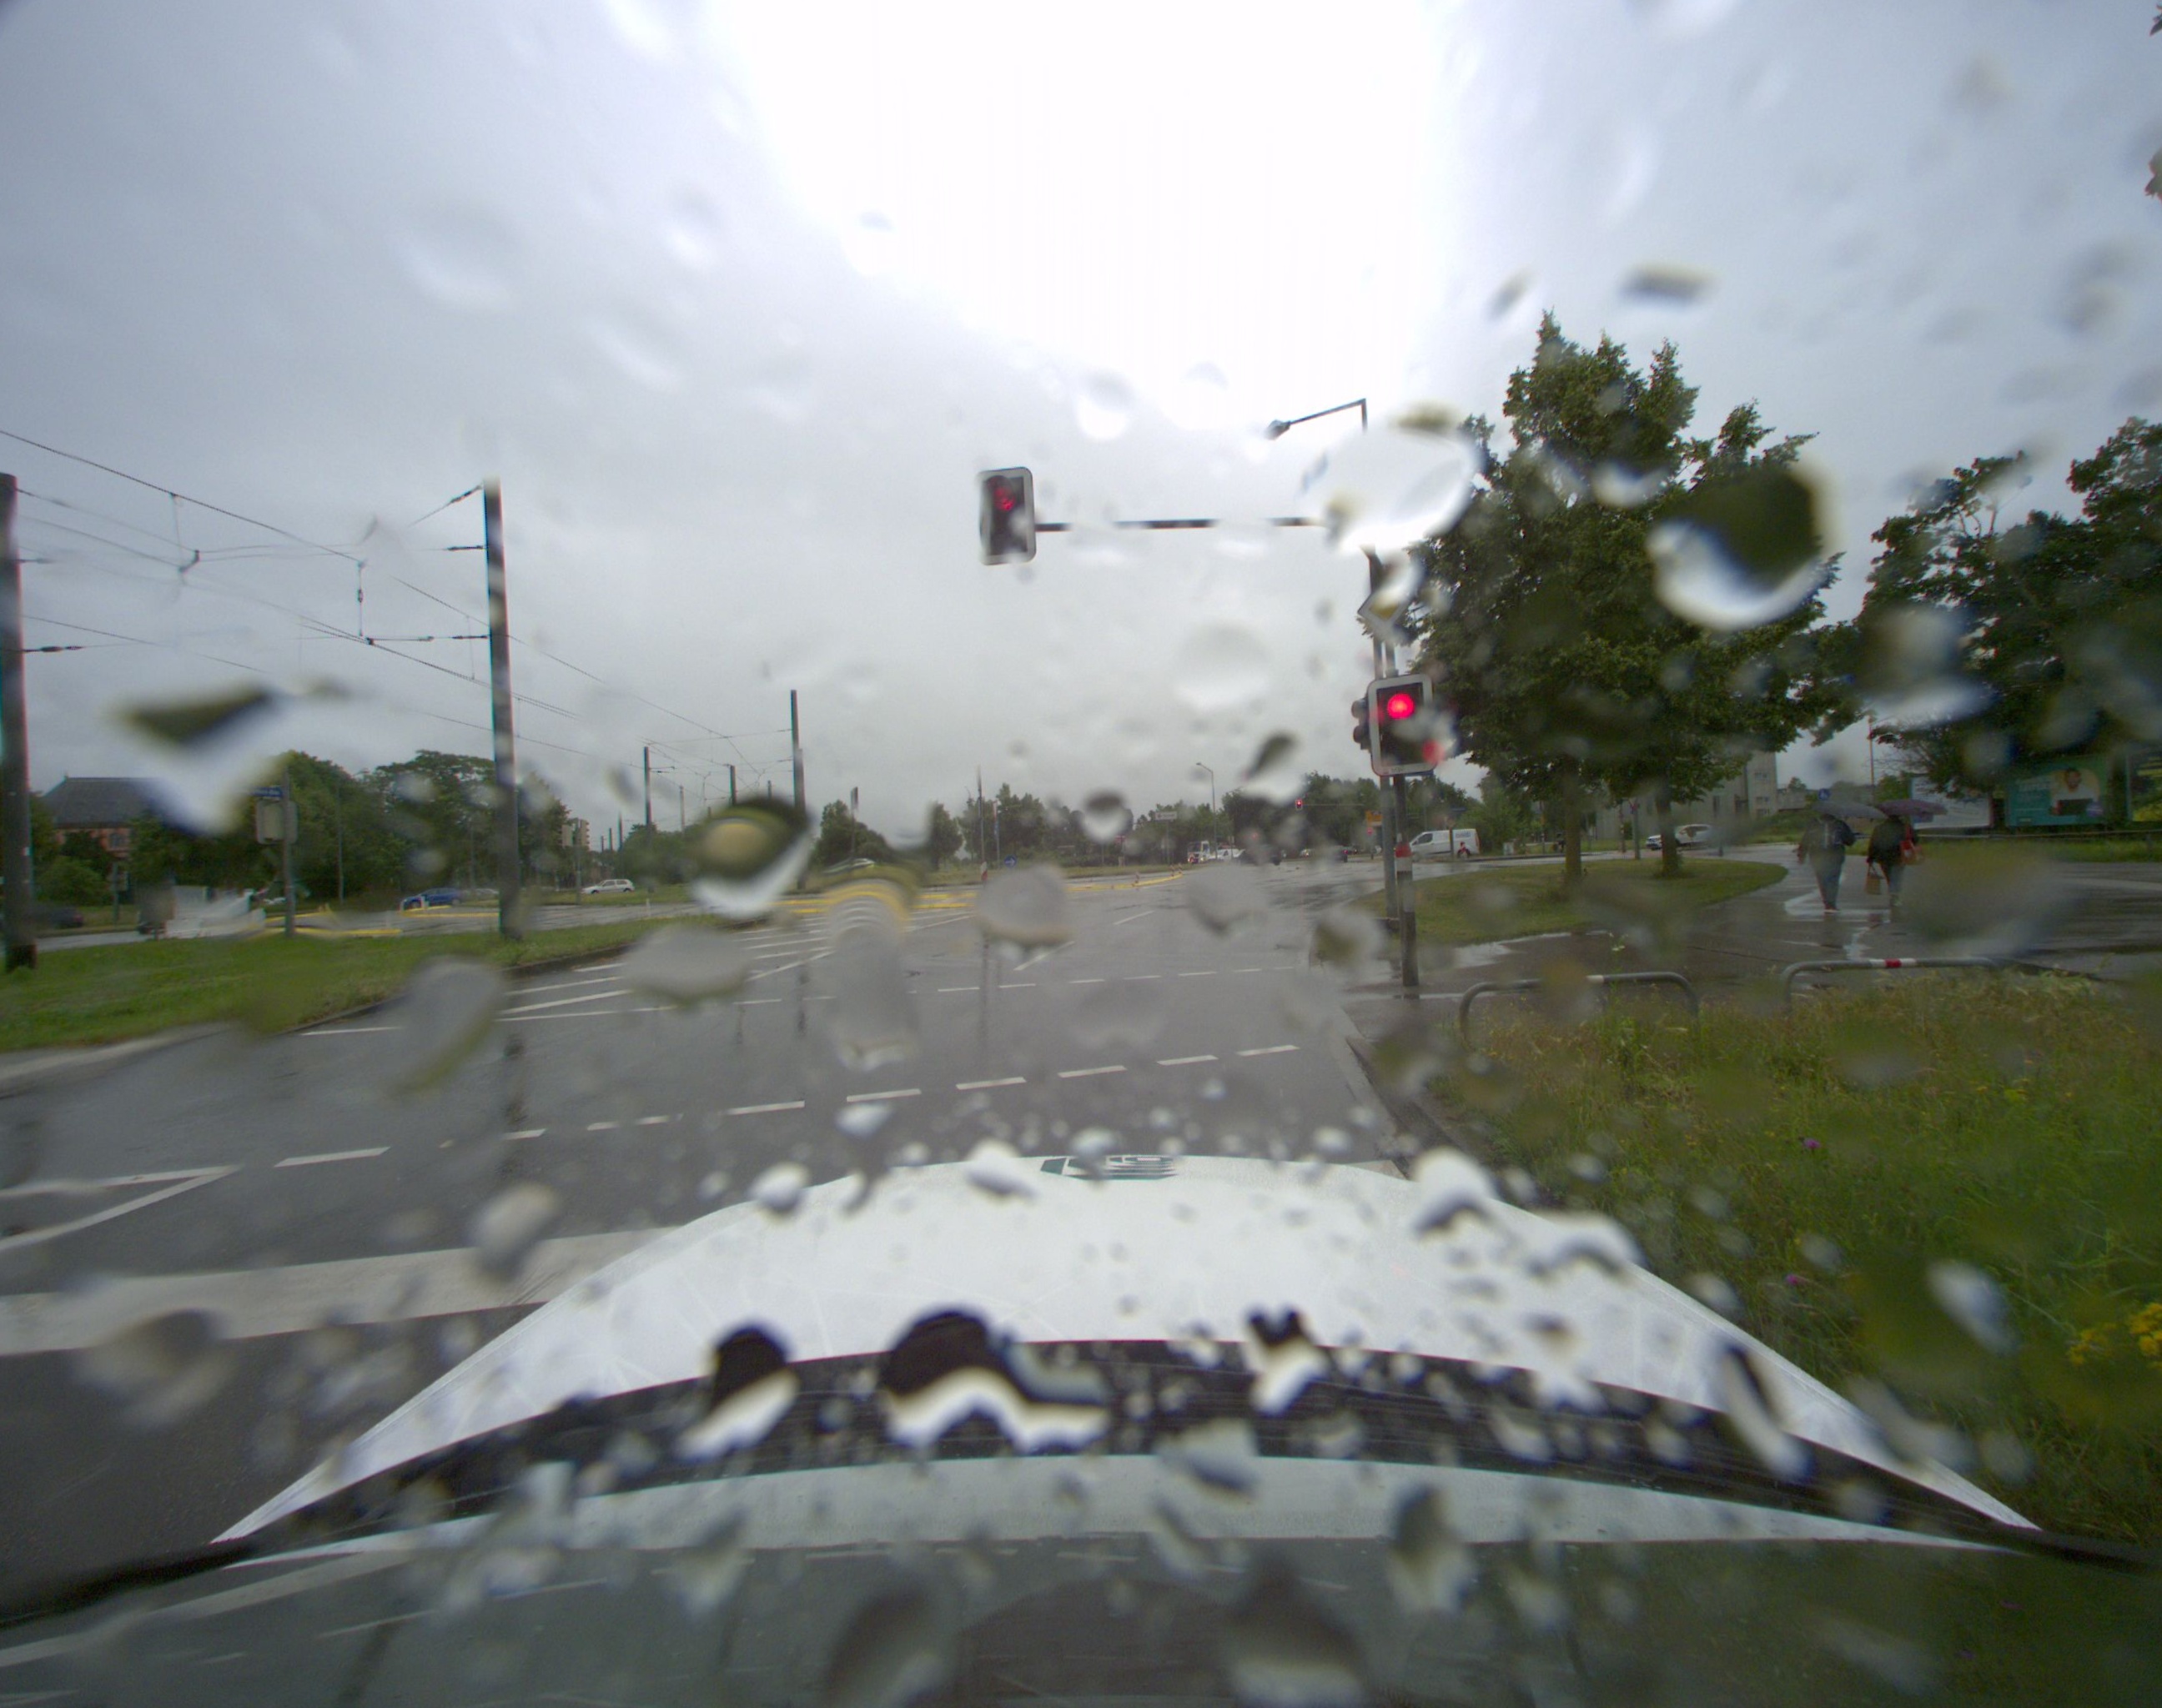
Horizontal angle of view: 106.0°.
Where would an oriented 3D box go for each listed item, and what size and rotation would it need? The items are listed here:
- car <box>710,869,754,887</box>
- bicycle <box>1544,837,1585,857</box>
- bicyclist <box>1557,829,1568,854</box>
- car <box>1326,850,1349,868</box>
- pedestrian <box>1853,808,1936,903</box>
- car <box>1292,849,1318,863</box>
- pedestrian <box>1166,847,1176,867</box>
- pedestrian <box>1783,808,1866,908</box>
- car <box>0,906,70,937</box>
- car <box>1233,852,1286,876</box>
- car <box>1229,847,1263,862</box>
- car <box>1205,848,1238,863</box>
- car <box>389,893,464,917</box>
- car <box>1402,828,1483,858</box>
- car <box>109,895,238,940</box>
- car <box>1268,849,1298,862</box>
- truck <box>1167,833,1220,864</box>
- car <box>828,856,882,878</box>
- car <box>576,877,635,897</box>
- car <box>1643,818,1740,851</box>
[{"bbox_3d":[-37.008,2.505,86.478,1.660,1.816,4.025,-1,-1,31],"label":"car"},{"bbox_3d":[34.250,-0.483,57.710,2.477,1.314,0.575,-1,-1,32],"label":"bicycle"},{"bbox_3d":[34.151,-0.908,57.748,0.583,1.742,0.499,-1,-2,32],"label":"bicyclist"},{"bbox_3d":[22.287,0.430,70.776,1.606,1.454,4.003,-2,0,14],"label":"car"},{"bbox_3d":[13.138,0.024,13.166,0.678,1.461,0.573,-3,-1,-3],"label":"pedestrian"},{"bbox_3d":[29.472,0.283,106.871,1.779,1.662,4.025,-1,-1,40],"label":"car"},{"bbox_3d":[6.009,0.226,54.309,0.448,1.304,0.489,-3,-1,40],"label":"pedestrian"},{"bbox_3d":[11.717,0.061,12.849,0.619,1.522,0.741,-1,0,0],"label":"pedestrian"},{"bbox_3d":[-56.872,3.622,43.214,1.602,1.454,4.013,-3,0,39],"label":"car"},{"bbox_3d":[14.196,0.794,64.921,1.999,1.851,4.746,0,-1,-18],"label":"car"},{"bbox_3d":[19.102,0.120,94.336,1.779,1.662,4.436,-1,-1,43],"label":"car"},{"bbox_3d":[16.534,0.159,95.869,1.779,1.662,4.159,-1,-1,43],"label":"car"},{"bbox_3d":[-48.354,3.770,60.229,1.603,1.454,4.012,-3,0,29],"label":"car"},{"bbox_3d":[23.494,-0.698,53.103,4.719,1.851,2.010,-1,-1,21],"label":"car"},{"bbox_3d":[-36.376,2.489,32.794,1.623,1.454,4.086,-2,0,-19],"label":"car"},{"bbox_3d":[25.321,0.218,101.891,1.779,1.662,4.436,-1,-1,43],"label":"car"},{"bbox_3d":[10.333,-0.410,74.063,2.439,2.686,8.105,-1,-1,25],"label":"truck"},{"bbox_3d":[-22.049,1.264,79.655,4.756,1.851,1.995,-2,0,-7],"label":"car"},{"bbox_3d":[-40.224,2.815,68.933,4.010,1.454,1.603,-2,0,-44],"label":"car"},{"bbox_3d":[38.678,-1.227,51.660,4.749,1.851,1.998,-3,0,-3],"label":"car"}]
